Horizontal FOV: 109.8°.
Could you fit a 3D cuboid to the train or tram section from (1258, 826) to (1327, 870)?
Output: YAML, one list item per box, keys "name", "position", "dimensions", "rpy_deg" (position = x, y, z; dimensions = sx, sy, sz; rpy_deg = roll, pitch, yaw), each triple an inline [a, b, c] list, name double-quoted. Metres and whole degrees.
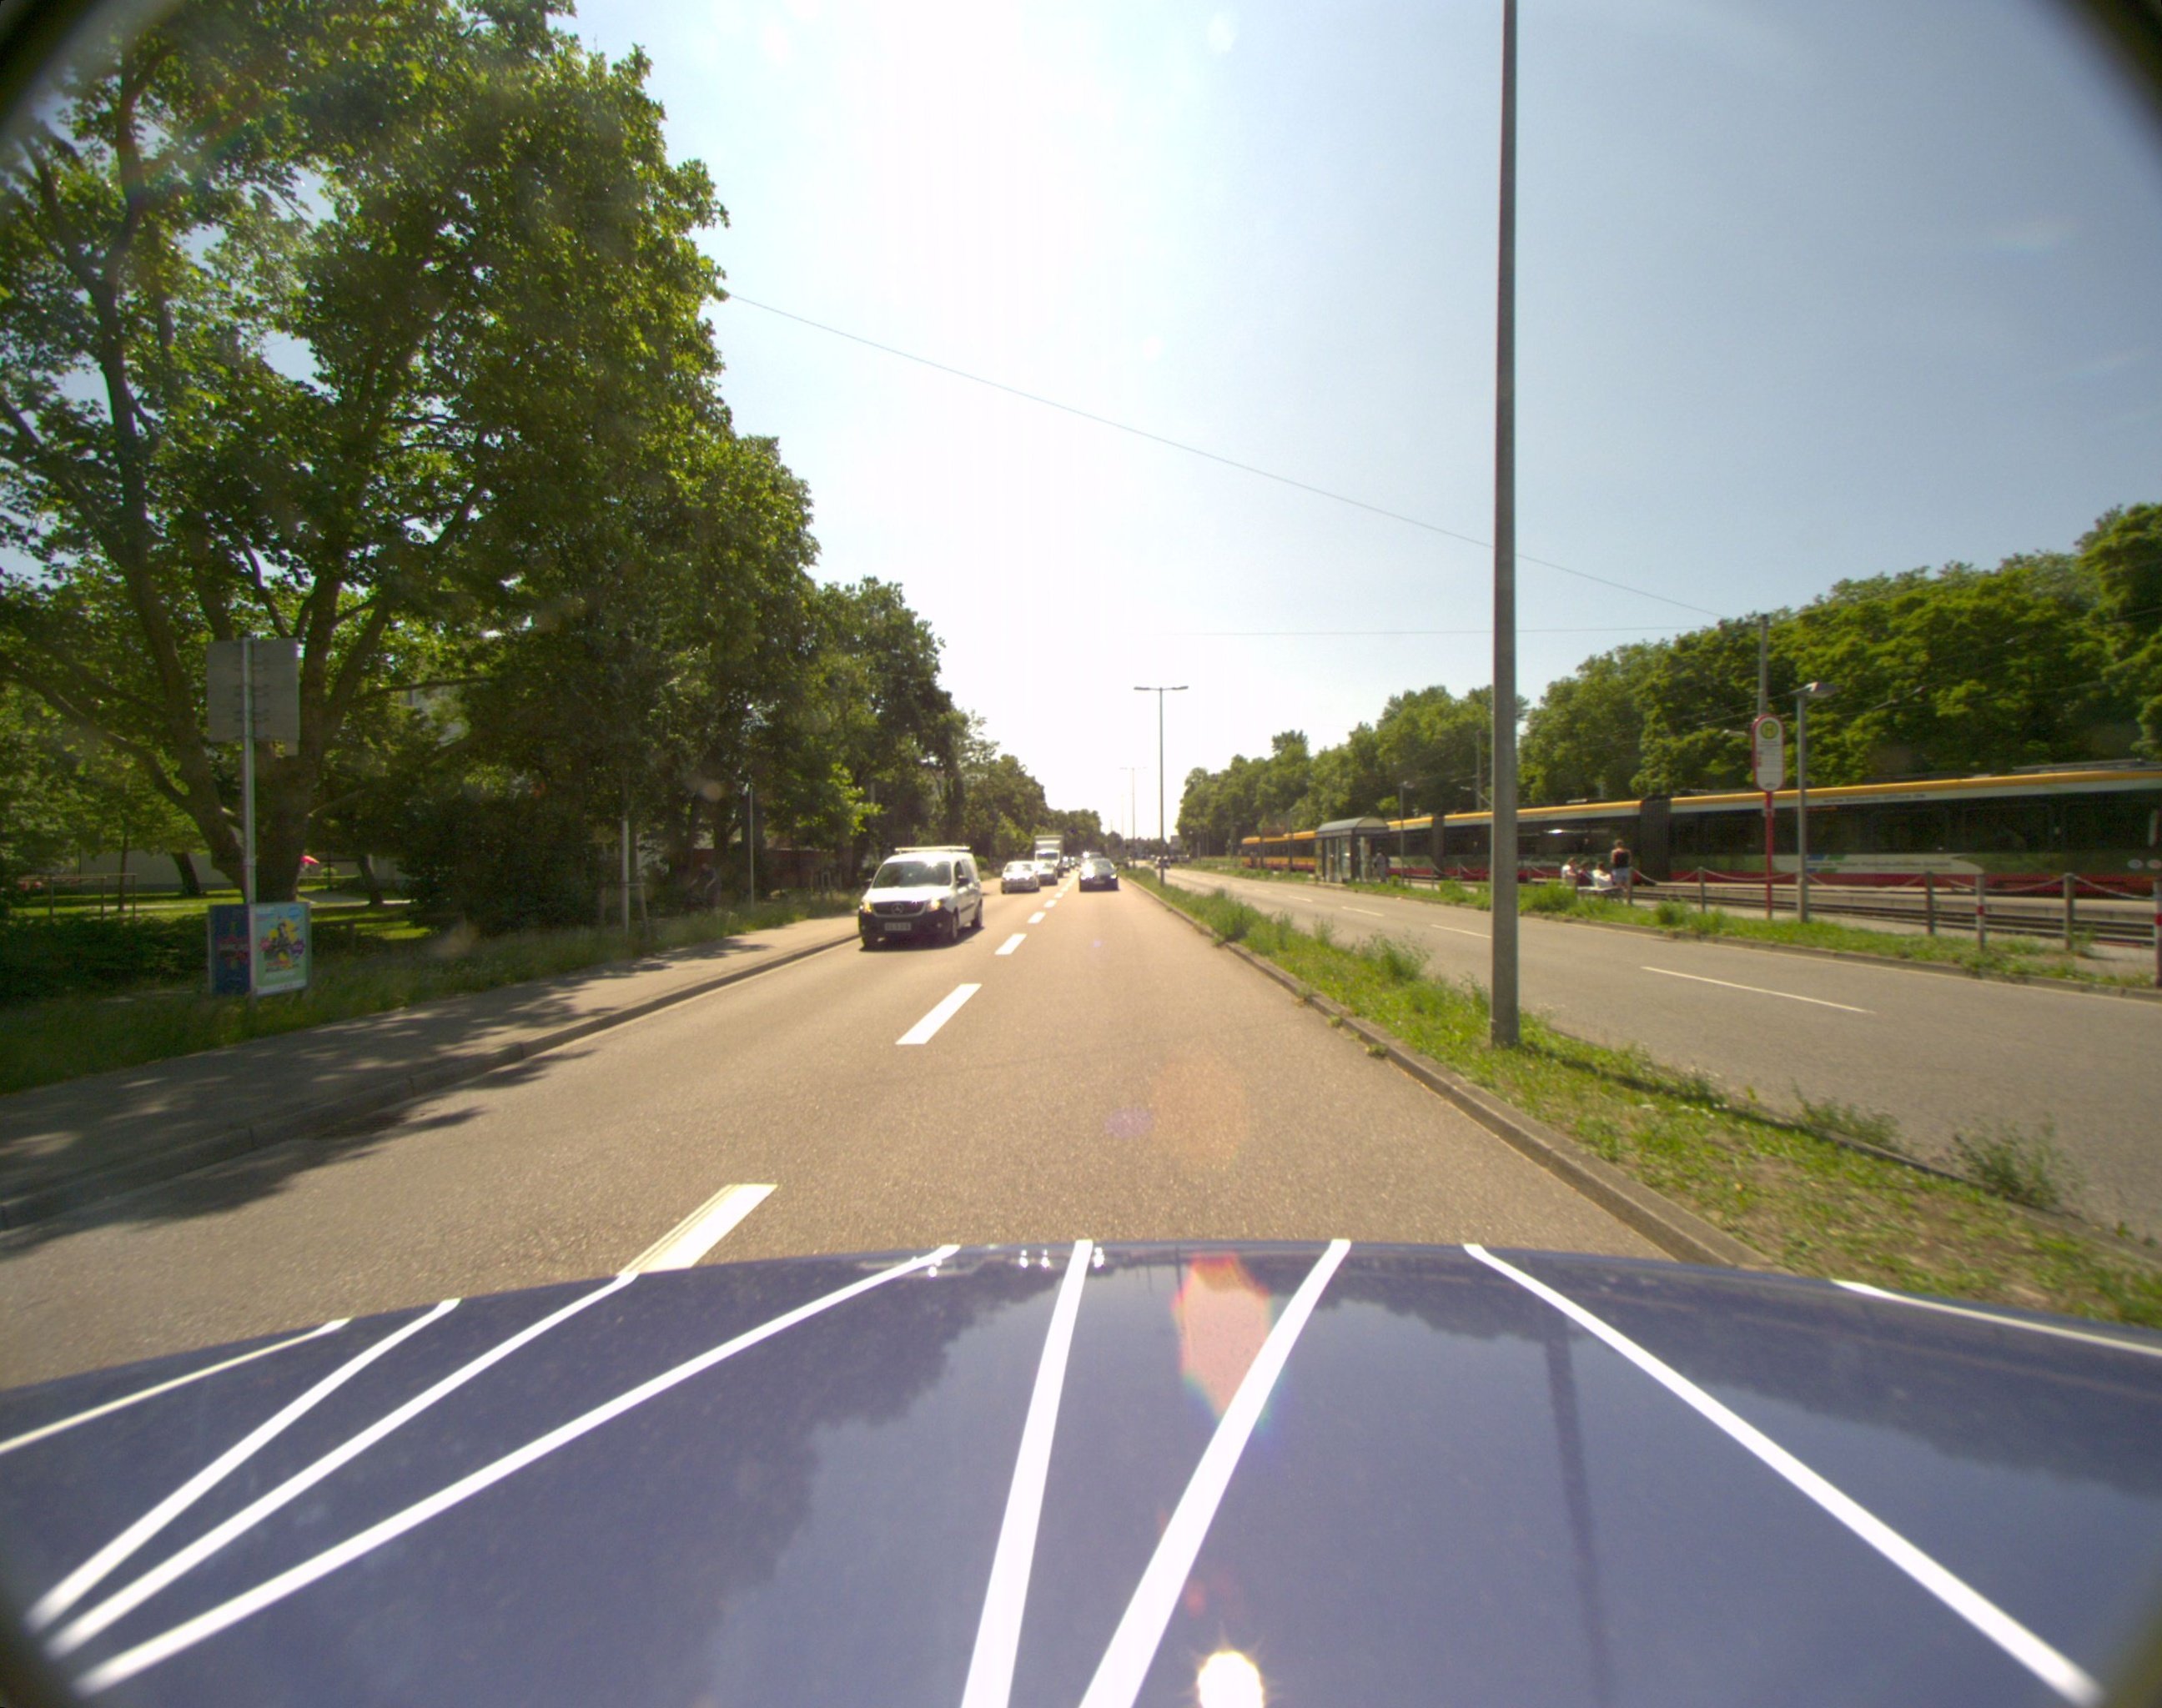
- name: "train or tram section"
  position: [19.729, -0.504, 72.042]
  dimensions: [3.051, 3.719, 12.596]
  rpy_deg: [-2, 0, 1]

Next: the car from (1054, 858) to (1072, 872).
- name: "car"
  position: [-1.907, 1.114, 81.138]
  dimensions: [1.746, 1.382, 3.888]
  rpy_deg: [-1, 0, 2]

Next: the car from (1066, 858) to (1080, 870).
- name: "car"
  position: [-1.029, 1.316, 100.974]
  dimensions: [1.618, 1.373, 4.115]
  rpy_deg: [-2, 0, 2]

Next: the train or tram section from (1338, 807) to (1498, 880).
- name: "train or tram section"
  position: [19.409, -0.508, 45.424]
  dimensions: [3.052, 3.603, 13.896]
  rpy_deg: [-2, 0, -1]

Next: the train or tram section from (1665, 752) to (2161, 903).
- name: "train or tram section"
  position: [25.279, -0.594, 22.541]
  dimensions: [3.057, 3.603, 12.427]
  rpy_deg: [-2, 0, -26]

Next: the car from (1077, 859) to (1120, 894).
- name: "car"
  position: [0.790, 0.949, 34.079]
  dimensions: [1.746, 1.382, 3.888]
  rpy_deg: [-3, 0, 2]

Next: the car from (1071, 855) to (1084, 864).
- name: "car"
  position: [-0.534, 0.826, 120.130]
  dimensions: [1.746, 1.382, 3.888]
  rpy_deg: [-1, 0, 2]

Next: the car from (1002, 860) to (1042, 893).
- name: "car"
  position: [-2.801, 1.048, 36.680]
  dimensions: [1.626, 1.432, 3.498]
  rpy_deg: [-2, 0, -1]

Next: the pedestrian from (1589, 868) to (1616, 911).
- name: "pedestrian"
  position: [12.946, 0.878, 18.864]
  dimensions: [0.384, 1.052, 0.377]
  rpy_deg: [-2, 0, -1]

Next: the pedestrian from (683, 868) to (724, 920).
- name: "pedestrian"
  position: [-10.568, 1.109, 21.300]
  dimensions: [0.710, 1.390, 0.763]
  rpy_deg: [-2, 0, 2]

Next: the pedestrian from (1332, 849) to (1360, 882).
- name: "pedestrian"
  position: [12.542, 0.544, 36.016]
  dimensions: [0.876, 1.537, 1.026]
  rpy_deg: [-2, 0, -1]

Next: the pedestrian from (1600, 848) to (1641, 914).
- name: "pedestrian"
  position: [13.012, 0.648, 18.336]
  dimensions: [0.536, 1.556, 0.582]
  rpy_deg: [-2, 0, 0]

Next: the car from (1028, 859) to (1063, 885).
- name: "car"
  position: [-2.053, 1.030, 44.853]
  dimensions: [1.618, 1.373, 4.115]
  rpy_deg: [-2, 0, 2]

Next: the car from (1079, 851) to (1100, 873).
- name: "car"
  position: [0.784, 0.695, 65.833]
  dimensions: [1.746, 1.840, 3.887]
  rpy_deg: [-1, 0, 2]

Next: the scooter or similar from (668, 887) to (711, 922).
- name: "scooter or similar"
  position: [-10.578, 1.359, 20.554]
  dimensions: [0.710, 0.888, 0.763]
  rpy_deg: [-2, 0, 2]

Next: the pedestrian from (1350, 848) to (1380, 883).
- name: "pedestrian"
  position: [13.041, 0.524, 34.909]
  dimensions: [0.933, 1.537, 0.985]
  rpy_deg: [-2, 0, -1]

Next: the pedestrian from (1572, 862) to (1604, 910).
- name: "pedestrian"
  position: [12.820, 0.800, 19.207]
  dimensions: [0.496, 1.182, 0.400]
  rpy_deg: [-2, 0, -13]

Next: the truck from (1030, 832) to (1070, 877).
- name: "truck"
  position: [-2.373, 0.040, 60.511]
  dimensions: [2.489, 3.276, 6.606]
  rpy_deg: [-1, 0, 3]

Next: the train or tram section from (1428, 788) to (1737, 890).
- name: "train or tram section"
  position: [20.976, -0.479, 33.502]
  dimensions: [3.055, 3.603, 12.437]
  rpy_deg: [-2, 0, -14]

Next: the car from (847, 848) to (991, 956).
- name: "car"
  position: [-3.184, 0.854, 16.036]
  dimensions: [1.809, 1.845, 5.082]
  rpy_deg: [-2, 0, 1]

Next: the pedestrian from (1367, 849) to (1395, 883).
- name: "pedestrian"
  position: [13.418, 0.532, 33.954]
  dimensions: [0.836, 1.499, 0.879]
  rpy_deg: [-2, 0, -1]

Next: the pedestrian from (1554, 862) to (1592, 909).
- name: "pedestrian"
  position: [12.750, 0.815, 19.697]
  dimensions: [0.583, 1.182, 0.536]
  rpy_deg: [-2, 0, -12]

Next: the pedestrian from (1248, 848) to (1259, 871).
- name: "pedestrian"
  position: [13.678, 0.440, 60.235]
  dimensions: [0.633, 1.780, 0.776]
  rpy_deg: [-2, 0, -1]

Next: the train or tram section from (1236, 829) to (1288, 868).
- name: "train or tram section"
  position: [19.826, -0.537, 84.095]
  dimensions: [2.957, 3.832, 11.541]
  rpy_deg: [-2, 0, 1]

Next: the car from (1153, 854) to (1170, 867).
- name: "car"
  position: [10.021, 0.802, 94.785]
  dimensions: [1.774, 1.496, 3.719]
  rpy_deg: [-1, 0, -1]

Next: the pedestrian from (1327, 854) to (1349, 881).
- name: "pedestrian"
  position: [12.483, 0.659, 36.930]
  dimensions: [0.703, 1.276, 0.840]
  rpy_deg: [-2, 0, -1]

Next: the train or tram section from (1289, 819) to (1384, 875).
- name: "train or tram section"
  position: [19.474, -0.453, 59.067]
  dimensions: [3.051, 3.745, 13.262]
  rpy_deg: [-2, 0, 1]
